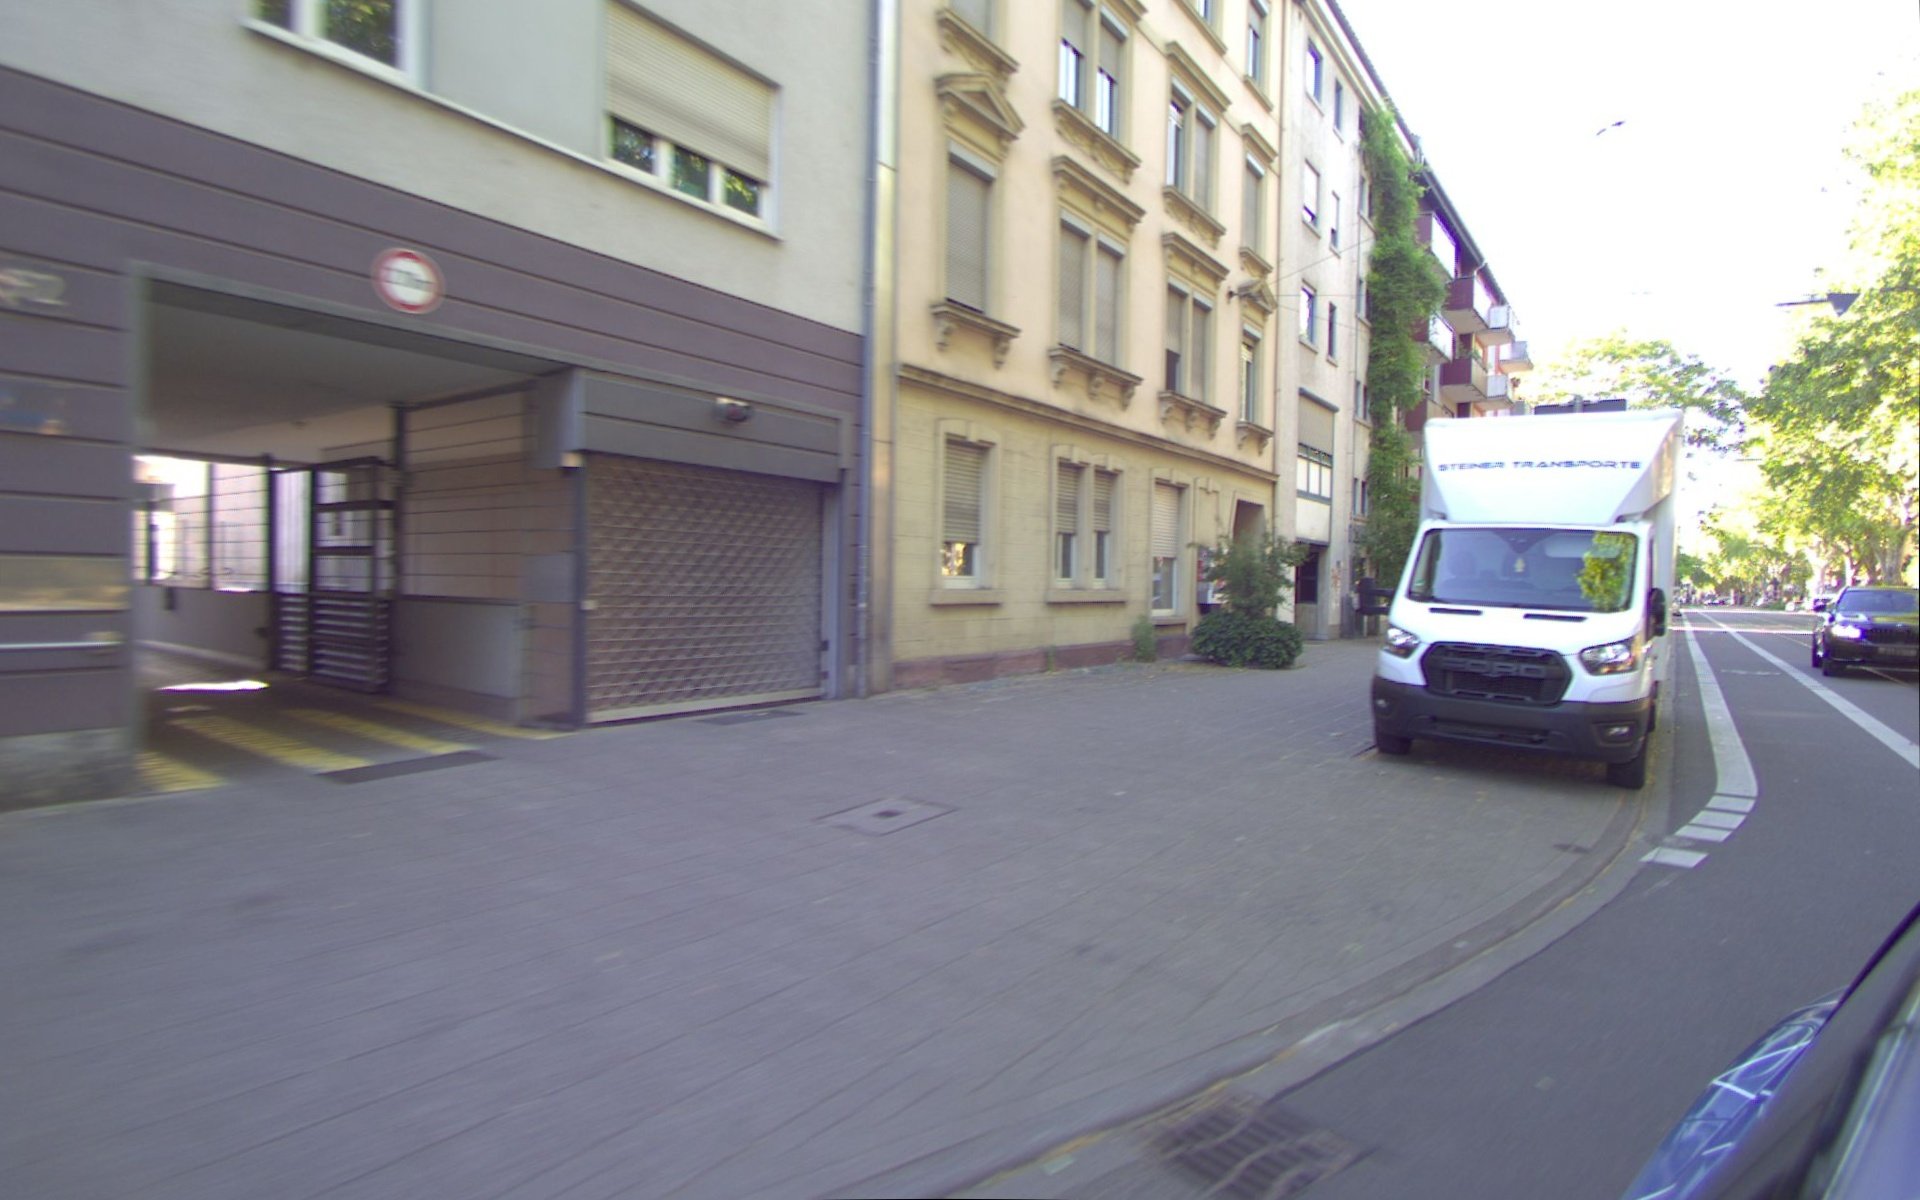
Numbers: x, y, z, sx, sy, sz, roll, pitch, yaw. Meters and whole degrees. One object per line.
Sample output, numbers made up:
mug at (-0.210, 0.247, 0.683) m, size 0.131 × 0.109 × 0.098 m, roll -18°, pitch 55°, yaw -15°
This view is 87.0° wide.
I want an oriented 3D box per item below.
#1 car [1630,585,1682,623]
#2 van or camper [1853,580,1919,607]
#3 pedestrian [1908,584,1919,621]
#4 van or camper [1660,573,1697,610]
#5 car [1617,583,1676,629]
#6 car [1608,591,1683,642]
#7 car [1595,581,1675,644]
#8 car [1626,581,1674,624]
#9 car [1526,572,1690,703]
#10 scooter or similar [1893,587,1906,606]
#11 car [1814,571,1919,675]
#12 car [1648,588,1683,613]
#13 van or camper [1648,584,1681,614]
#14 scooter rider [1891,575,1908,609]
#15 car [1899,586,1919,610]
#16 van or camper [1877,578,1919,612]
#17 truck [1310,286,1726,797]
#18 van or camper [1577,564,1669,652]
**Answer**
car at (30.249, 0.143, 43.942) m, size 1.729 × 1.480 × 3.866 m, roll 4°, pitch 3°, yaw 36°
van or camper at (79.828, -0.580, 86.653) m, size 4.806 × 2.217 × 2.092 m, roll 1°, pitch 1°, yaw 36°
pedestrian at (46.152, 0.095, 48.609) m, size 0.820 × 1.767 × 0.786 m, roll 0°, pitch 0°, yaw 37°
van or camper at (63.379, -0.756, 89.376) m, size 2.455 × 3.101 × 6.190 m, roll 4°, pitch 2°, yaw 35°
car at (25.289, 0.175, 37.230) m, size 1.588 × 1.545 × 3.785 m, roll 4°, pitch 3°, yaw 37°
car at (22.050, 0.472, 32.491) m, size 1.656 × 1.416 × 4.675 m, roll 4°, pitch 3°, yaw 38°
car at (19.009, 0.294, 28.440) m, size 1.656 × 1.600 × 3.541 m, roll 3°, pitch 2°, yaw 37°
car at (27.556, 0.072, 40.445) m, size 1.521 × 1.610 × 3.706 m, roll 0°, pitch 1°, yaw 35°
car at (9.543, 0.417, 15.060) m, size 1.723 × 1.576 × 4.105 m, roll 4°, pitch 3°, yaw 31°
scooter or similar at (55.068, -0.197, 59.323) m, size 0.406 × 1.096 × 1.321 m, roll 0°, pitch 1°, yaw 37°
car at (17.644, 0.372, 19.128) m, size 1.913 × 1.774 × 4.744 m, roll 1°, pitch 1°, yaw 36°
car at (44.402, 0.023, 63.682) m, size 1.701 × 1.491 × 3.948 m, roll 2°, pitch 1°, yaw 36°
van or camper at (47.313, -0.106, 67.960) m, size 1.749 × 1.887 × 4.769 m, roll 2°, pitch 1°, yaw 35°
scooter rider at (55.145, -0.445, 59.400) m, size 0.647 × 1.982 × 0.616 m, roll 0°, pitch 0°, yaw 37°
car at (69.830, -0.080, 72.234) m, size 3.839 × 1.683 × 1.837 m, roll 2°, pitch 1°, yaw 37°
van or camper at (72.859, -0.397, 76.217) m, size 5.375 × 2.547 × 2.413 m, roll 1°, pitch 1°, yaw 37°
truck at (6.054, -0.512, 10.323) m, size 2.533 × 3.378 × 7.100 m, roll 4°, pitch 3°, yaw 36°
van or camper at (16.067, 0.128, 24.537) m, size 1.663 × 1.906 × 4.160 m, roll 3°, pitch 2°, yaw 34°
